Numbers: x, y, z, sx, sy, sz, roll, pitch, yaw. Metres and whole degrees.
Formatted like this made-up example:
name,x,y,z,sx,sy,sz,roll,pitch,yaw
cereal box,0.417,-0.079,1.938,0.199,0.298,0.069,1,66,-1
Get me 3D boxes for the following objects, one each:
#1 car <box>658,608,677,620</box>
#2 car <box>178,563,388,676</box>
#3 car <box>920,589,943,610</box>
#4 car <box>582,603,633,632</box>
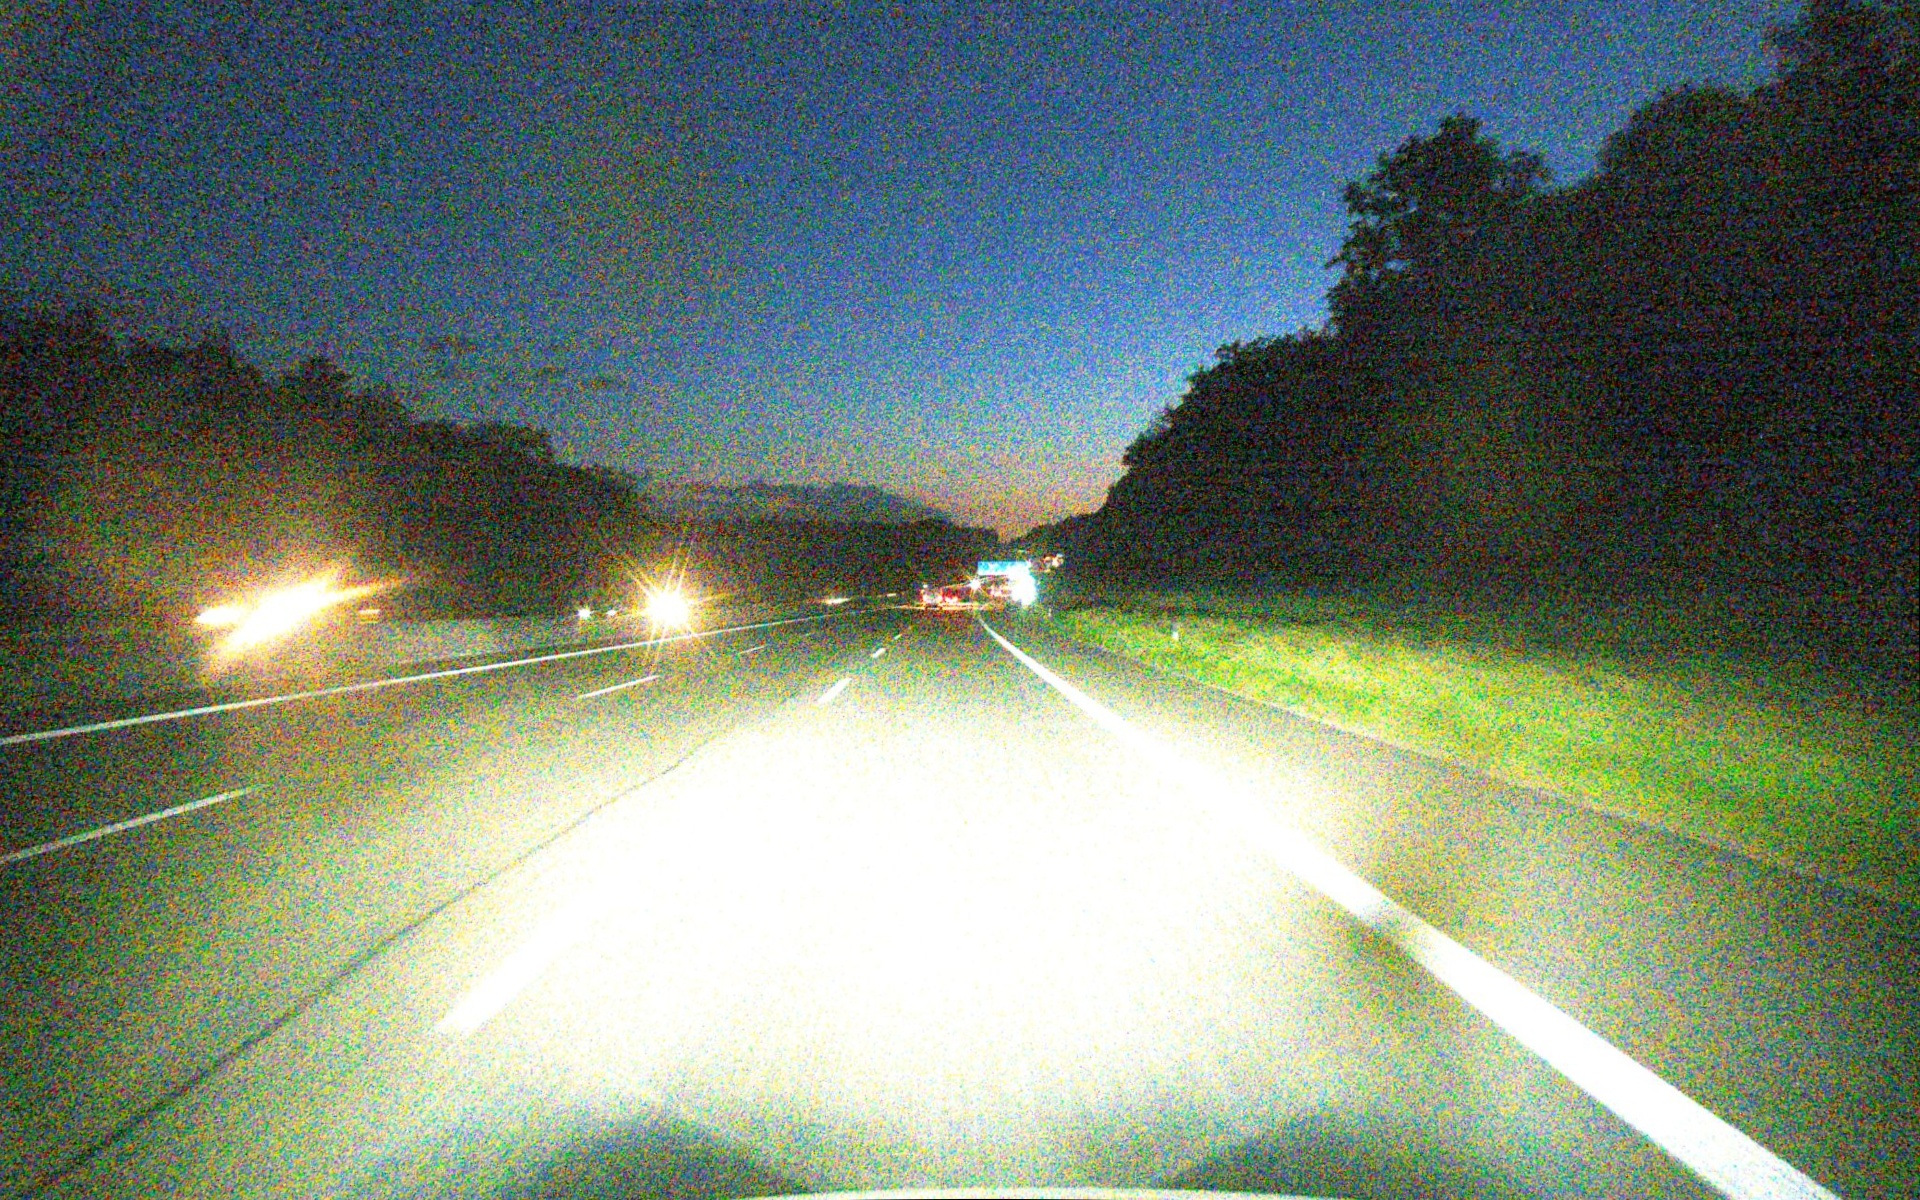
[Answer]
name,x,y,z,sx,sy,sz,roll,pitch,yaw
car,-31.303,1.513,177.027,1.560,1.287,3.998,0,0,-3
car,-18.846,0.483,46.661,2.893,2.907,7.715,0,0,-1
car,-3.305,-0.066,192.625,2.459,2.354,4.971,0,0,0
car,-18.991,0.919,89.248,1.823,1.524,4.704,0,0,-1
